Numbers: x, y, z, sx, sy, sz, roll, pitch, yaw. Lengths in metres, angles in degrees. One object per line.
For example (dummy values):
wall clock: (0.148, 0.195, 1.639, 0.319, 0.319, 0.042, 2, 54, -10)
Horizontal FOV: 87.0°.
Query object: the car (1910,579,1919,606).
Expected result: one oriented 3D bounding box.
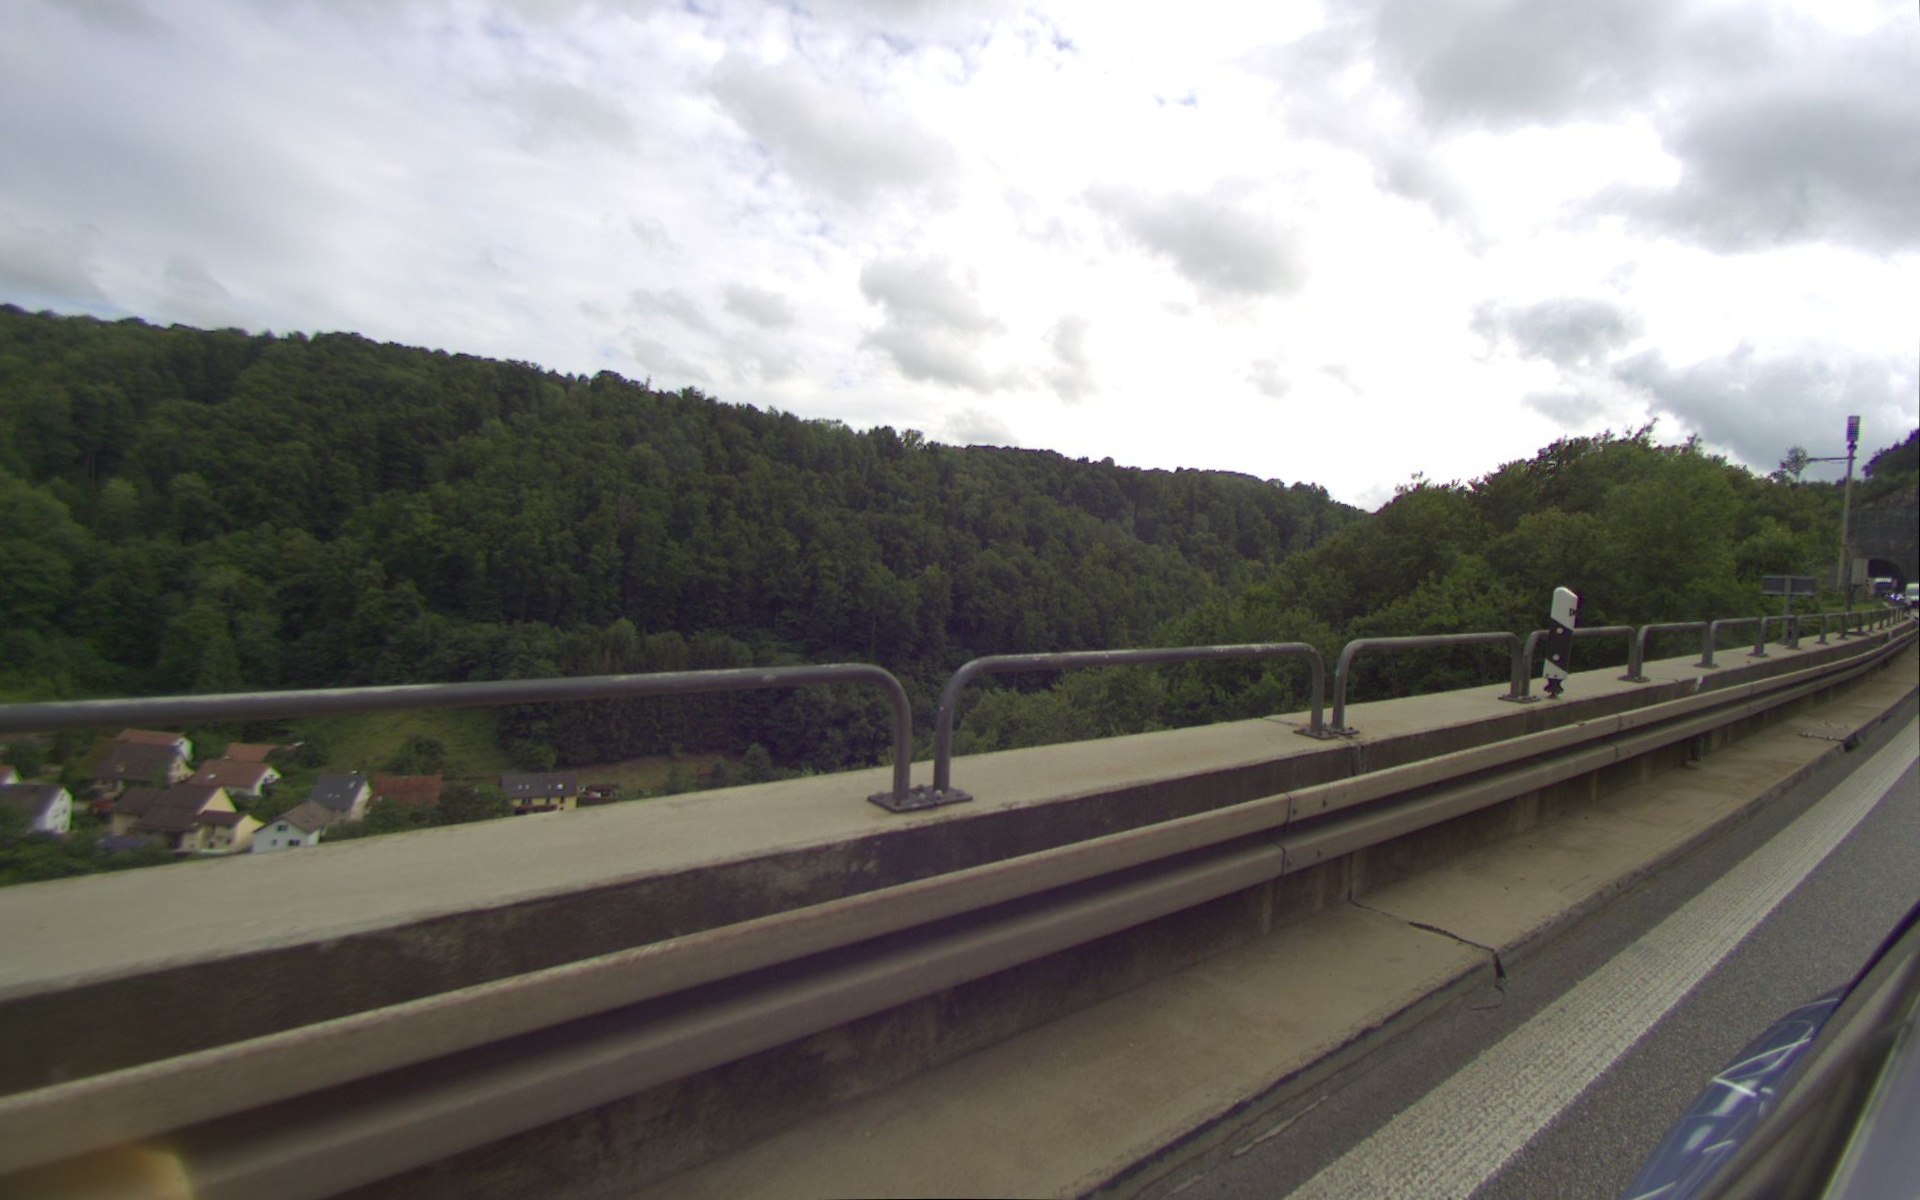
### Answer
car: (90.398, -0.683, 94.166, 2.665, 2.453, 6.028, 0, 0, 42)
